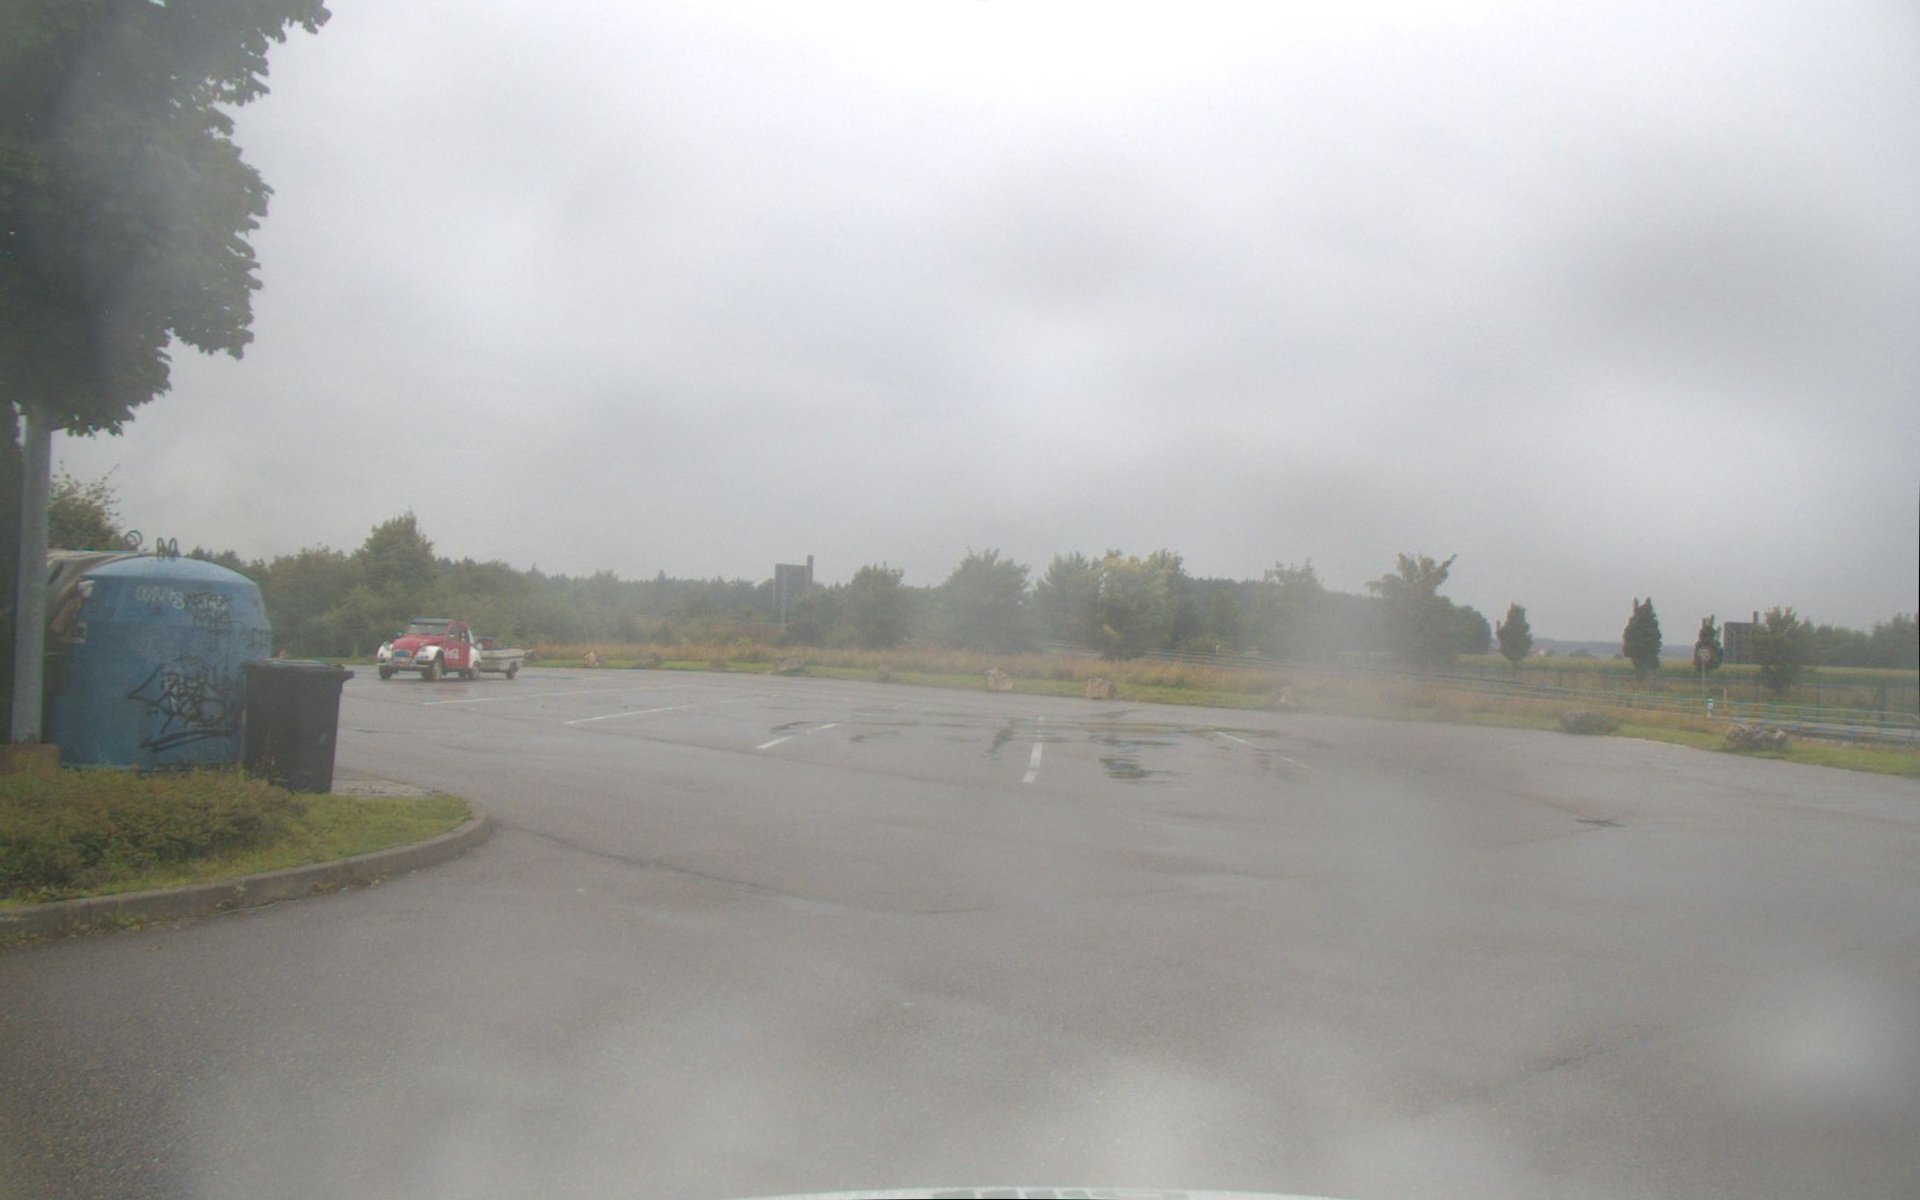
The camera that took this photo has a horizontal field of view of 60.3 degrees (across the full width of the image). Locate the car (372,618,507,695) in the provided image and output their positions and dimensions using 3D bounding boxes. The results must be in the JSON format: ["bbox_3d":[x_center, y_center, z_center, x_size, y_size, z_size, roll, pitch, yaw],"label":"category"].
[{"bbox_3d":[-12.974,1.418,41.459,1.784,1.808,4.002,1,-2,5],"label":"car"}]

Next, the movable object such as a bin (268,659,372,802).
[{"bbox_3d":[-4.527,0.915,11.707,0.425,0.965,0.473,2,-2,25],"label":"movable object such as a bin"}]

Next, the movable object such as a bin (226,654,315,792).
[{"bbox_3d":[-5.022,0.888,12.068,0.396,0.965,0.450,3,-2,1],"label":"movable object such as a bin"}]

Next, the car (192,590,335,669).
[{"bbox_3d":[-22.621,1.030,54.061,1.952,2.422,6.026,0,-2,2],"label":"car"}]

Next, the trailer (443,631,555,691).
[{"bbox_3d":[-12.601,1.663,45.453,1.659,1.560,4.002,1,-2,5],"label":"trailer"}]
